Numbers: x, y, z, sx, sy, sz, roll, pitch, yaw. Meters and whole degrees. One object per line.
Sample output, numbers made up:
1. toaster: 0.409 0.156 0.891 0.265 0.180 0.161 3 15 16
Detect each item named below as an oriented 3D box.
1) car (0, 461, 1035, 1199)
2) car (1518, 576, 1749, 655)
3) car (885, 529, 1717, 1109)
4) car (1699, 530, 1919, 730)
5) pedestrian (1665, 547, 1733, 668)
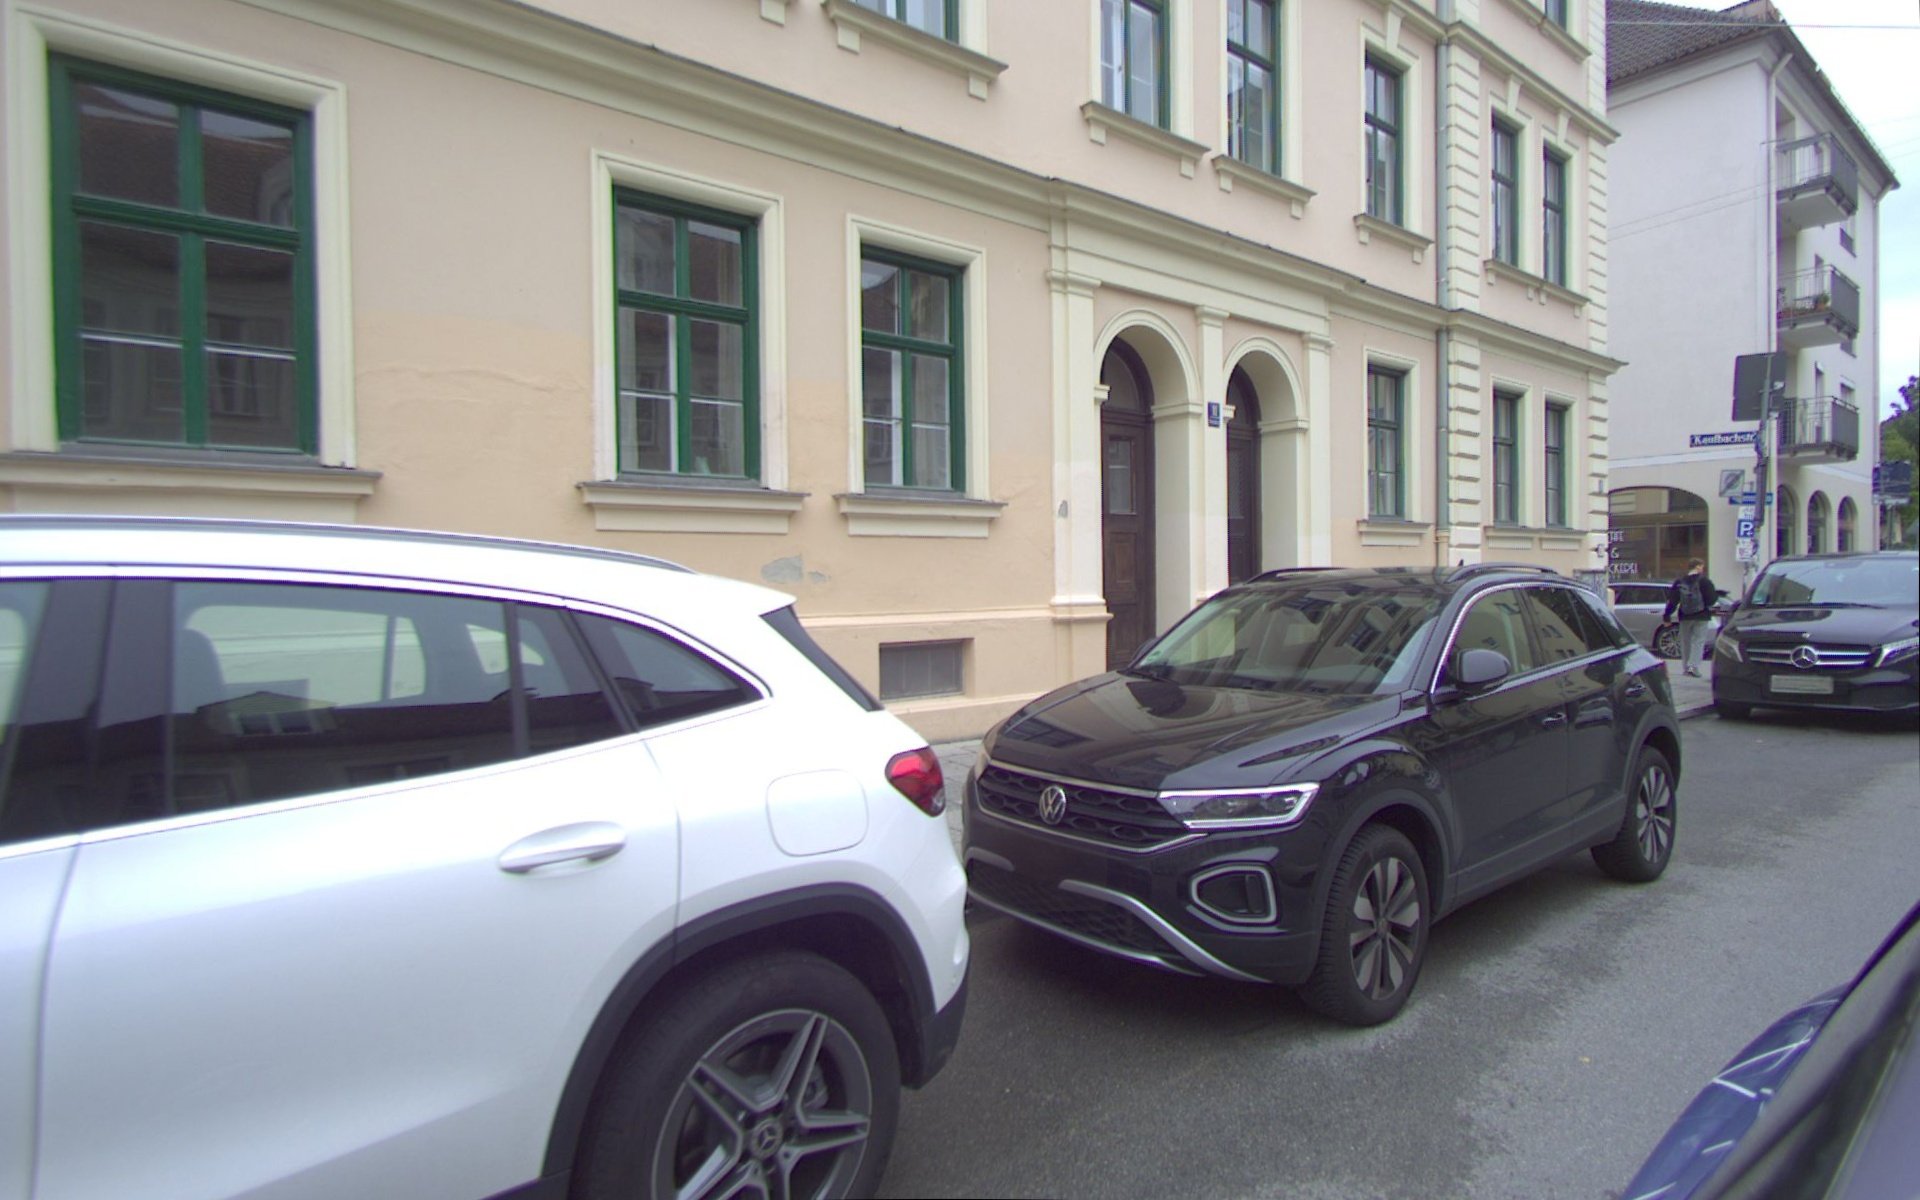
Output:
1. car: -1.985 0.623 1.839 4.246 1.621 1.720 -1 1 -40
2. car: 14.845 0.273 22.474 1.682 1.585 3.994 -1 1 -40
3. car: 1.818 0.555 4.702 4.067 1.586 1.721 -1 1 -38
4. car: 10.606 0.234 11.677 5.019 1.884 1.999 -1 1 -37
5. pedestrian: 11.482 0.101 15.733 0.717 1.825 0.698 -1 1 -38
